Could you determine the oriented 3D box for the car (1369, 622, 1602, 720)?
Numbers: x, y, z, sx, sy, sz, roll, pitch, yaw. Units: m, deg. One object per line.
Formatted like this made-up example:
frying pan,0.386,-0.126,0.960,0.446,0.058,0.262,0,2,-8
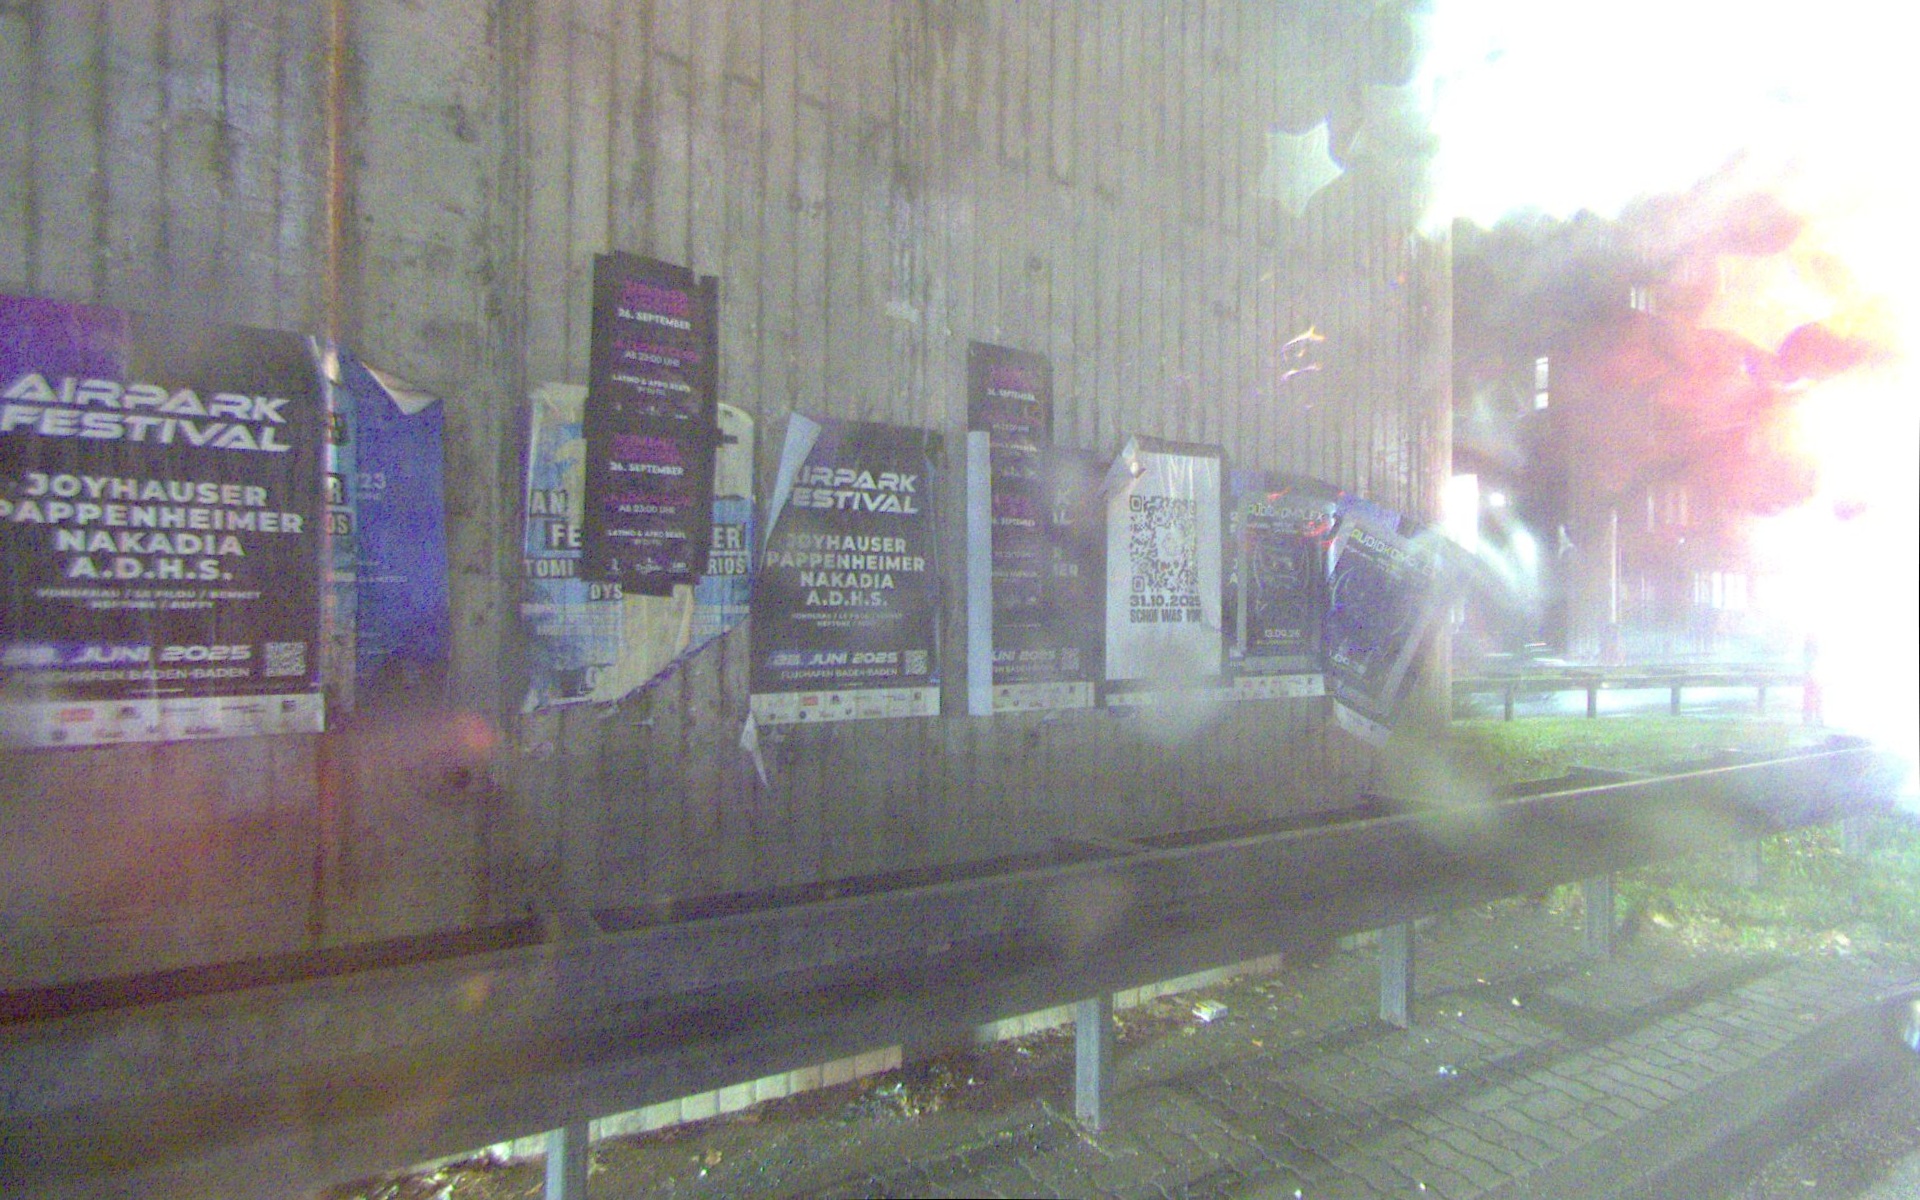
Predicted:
car,9.544,1.227,18.162,4.280,1.590,1.762,2,-2,-30
